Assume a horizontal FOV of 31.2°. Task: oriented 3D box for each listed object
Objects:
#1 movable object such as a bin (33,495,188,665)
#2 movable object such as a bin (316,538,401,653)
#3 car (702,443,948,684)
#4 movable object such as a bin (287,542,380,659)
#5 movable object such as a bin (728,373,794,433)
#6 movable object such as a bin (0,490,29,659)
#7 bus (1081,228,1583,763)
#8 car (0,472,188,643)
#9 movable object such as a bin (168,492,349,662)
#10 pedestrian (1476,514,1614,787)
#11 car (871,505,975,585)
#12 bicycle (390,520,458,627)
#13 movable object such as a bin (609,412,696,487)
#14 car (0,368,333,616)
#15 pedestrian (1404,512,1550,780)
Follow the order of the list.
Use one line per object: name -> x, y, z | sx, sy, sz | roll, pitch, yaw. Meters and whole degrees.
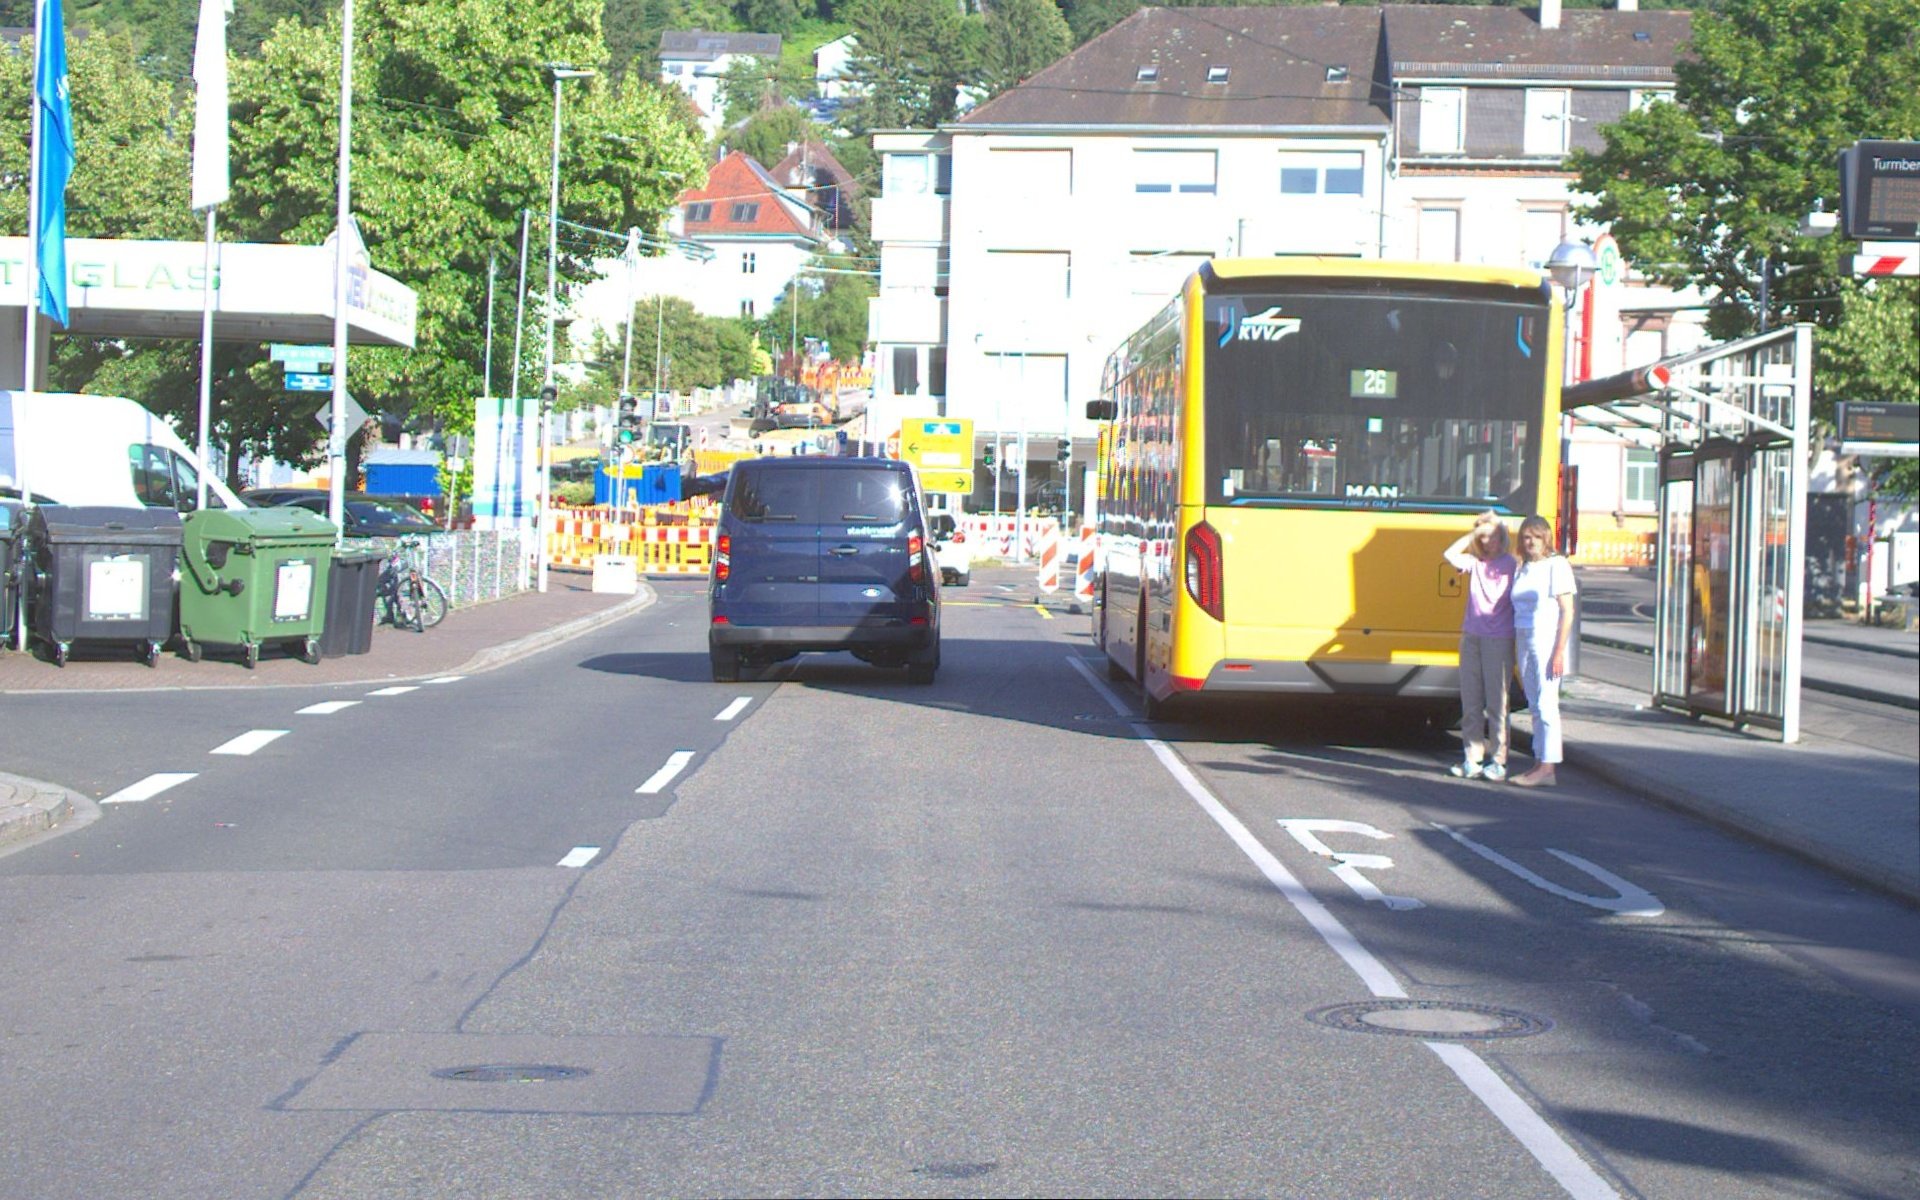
movable object such as a bin -> -7.744, -0.195, 31.344 | 1.218, 1.477, 0.704 | -1, 5, -29
movable object such as a bin -> -5.927, -0.051, 33.882 | 0.640, 1.065, 0.580 | 3, 5, 12
car -> -1.160, -0.357, 31.576 | 2.062, 2.007, 5.000 | 1, 1, 0
movable object such as a bin -> -6.063, 0.000, 33.293 | 0.660, 1.059, 0.585 | 4, 3, 12
movable object such as a bin -> -9.503, -9.406, 164.446 | 2.192, 2.681, 3.998 | 2, 2, 11
movable object such as a bin -> -9.132, -0.248, 31.157 | 1.218, 1.477, 0.704 | 1, 4, -5
bus -> 2.631, -0.856, 28.389 | 2.688, 3.404, 12.019 | 2, 2, 0
car -> -9.670, -0.476, 33.721 | 3.985, 1.563, 1.773 | 2, 2, -14
movable object such as a bin -> -6.595, -0.236, 32.362 | 1.056, 1.477, 1.310 | 4, 5, 28
pedestrian -> 3.529, 0.297, 20.744 | 0.544, 1.607, 0.549 | 1, 1, -38
car -> -0.673, -1.051, 64.615 | 1.794, 1.405, 4.000 | 1, 1, 1
bicycle -> -6.134, -0.317, 39.312 | 0.723, 1.174, 1.781 | 1, 1, -9
movable object such as a bin -> -11.588, -5.670, 129.979 | 2.192, 2.681, 3.998 | 2, 2, 11
car -> -9.462, -1.172, 36.716 | 5.054, 2.461, 2.109 | 2, 1, -22
pedestrian -> 3.171, 0.273, 21.100 | 0.544, 1.607, 0.636 | 1, 1, -38
